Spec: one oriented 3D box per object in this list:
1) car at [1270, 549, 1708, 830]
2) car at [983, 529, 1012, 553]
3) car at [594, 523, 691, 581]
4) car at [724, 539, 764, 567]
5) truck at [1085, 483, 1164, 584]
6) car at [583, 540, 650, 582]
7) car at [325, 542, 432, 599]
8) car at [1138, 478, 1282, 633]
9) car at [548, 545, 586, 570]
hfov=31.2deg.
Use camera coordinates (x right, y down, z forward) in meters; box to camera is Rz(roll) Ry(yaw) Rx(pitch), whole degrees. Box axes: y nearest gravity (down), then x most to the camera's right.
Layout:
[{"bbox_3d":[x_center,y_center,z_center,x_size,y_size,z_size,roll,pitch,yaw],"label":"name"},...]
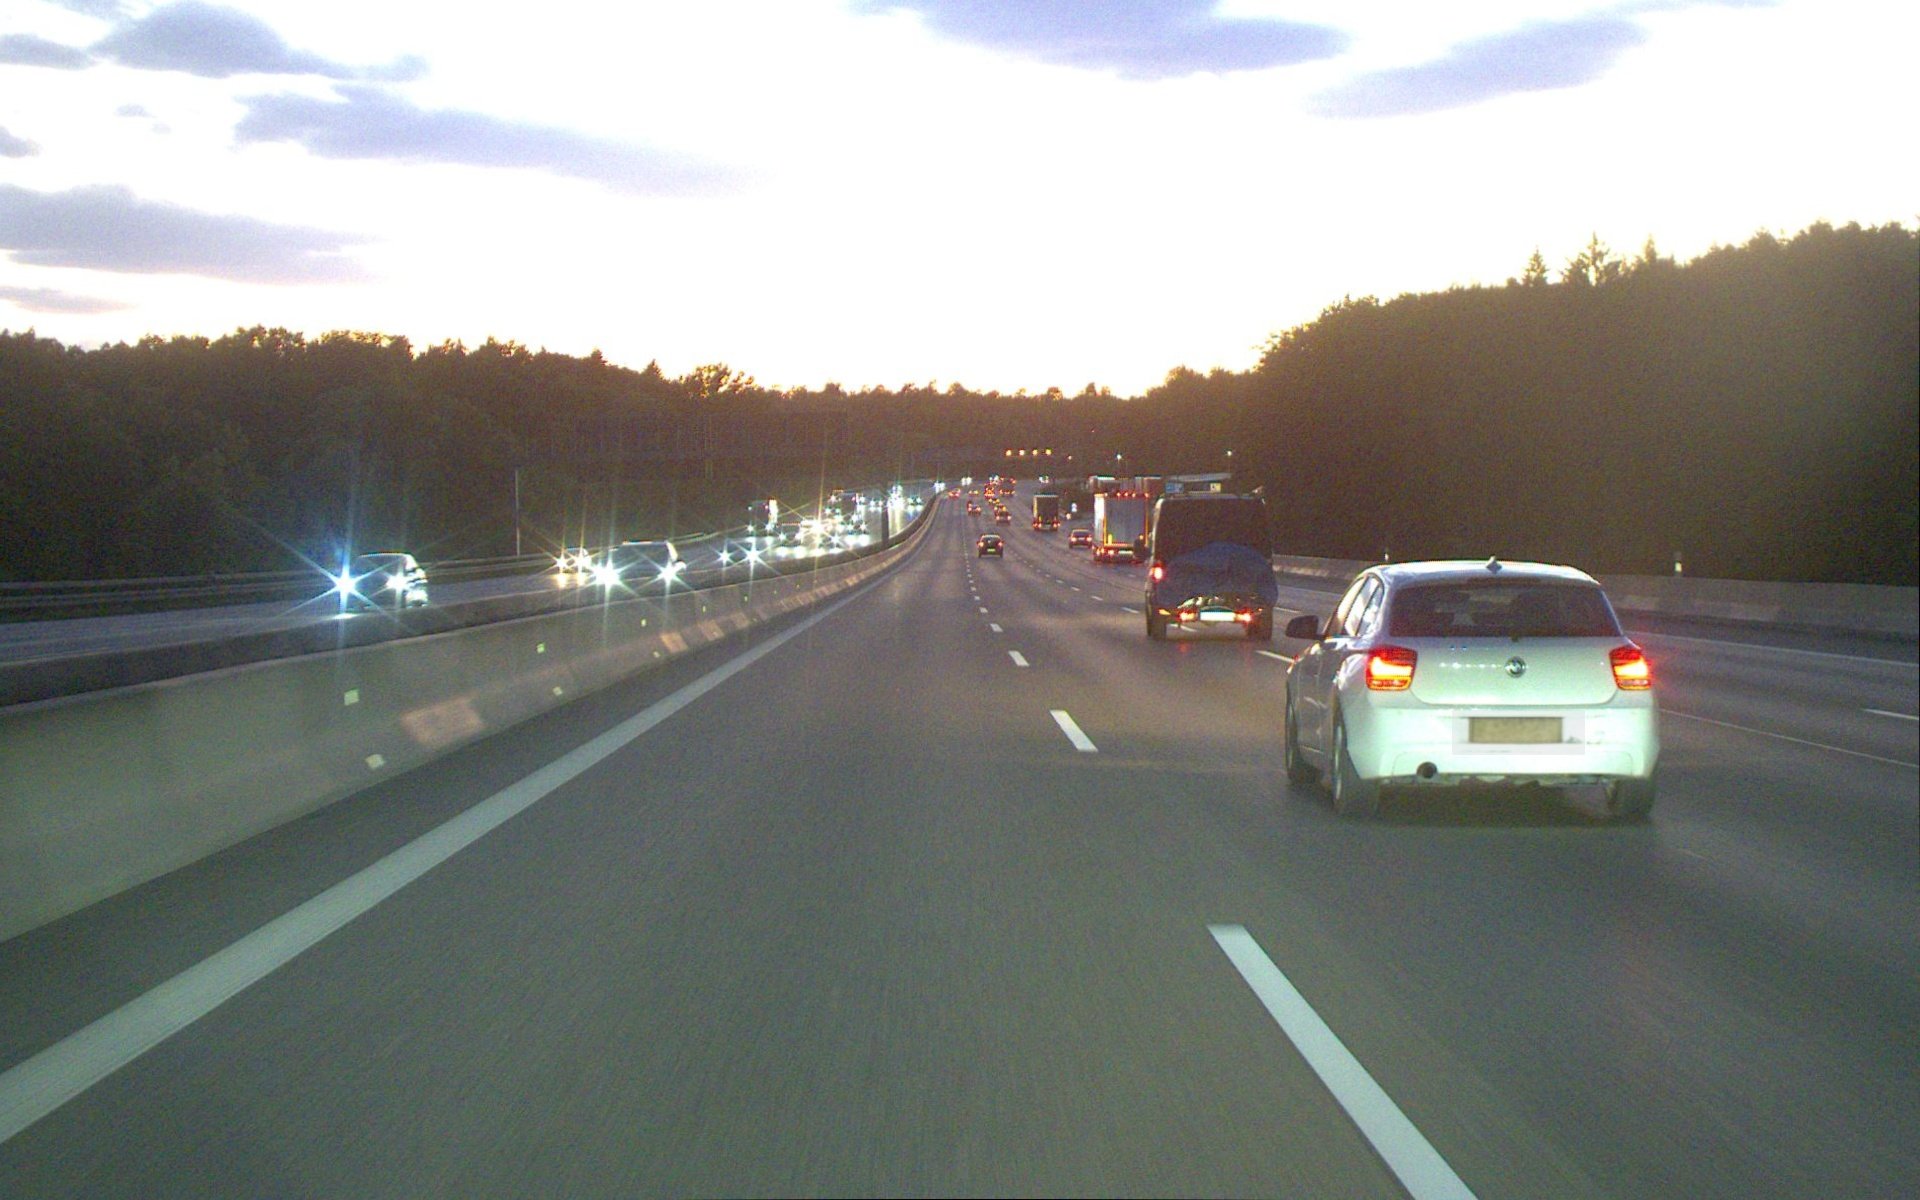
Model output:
[{"bbox_3d":[2.959,0.446,19.995,1.859,1.437,3.721,1,1,-2],"label":"car"},{"bbox_3d":[2.528,-3.972,231.052,1.836,1.565,4.000,0,1,2],"label":"car"},{"bbox_3d":[-8.109,-1.243,88.188,1.993,1.420,5.145,0,1,0],"label":"car"},{"bbox_3d":[-11.307,-2.464,179.830,1.836,1.433,4.000,0,1,0],"label":"car"},{"bbox_3d":[9.825,-4.007,207.239,4.149,5.836,14.297,0,1,0],"label":"truck"},{"bbox_3d":[-11.821,-1.364,118.627,1.848,1.409,4.791,0,1,0],"label":"car"},{"bbox_3d":[-15.018,-0.773,89.057,1.912,1.420,4.747,0,1,1],"label":"car"},{"bbox_3d":[4.064,-0.746,56.693,2.166,2.410,5.564,0,1,2],"label":"car"},{"bbox_3d":[-23.174,-2.535,202.734,1.836,1.433,4.000,0,1,-1],"label":"car"}]
